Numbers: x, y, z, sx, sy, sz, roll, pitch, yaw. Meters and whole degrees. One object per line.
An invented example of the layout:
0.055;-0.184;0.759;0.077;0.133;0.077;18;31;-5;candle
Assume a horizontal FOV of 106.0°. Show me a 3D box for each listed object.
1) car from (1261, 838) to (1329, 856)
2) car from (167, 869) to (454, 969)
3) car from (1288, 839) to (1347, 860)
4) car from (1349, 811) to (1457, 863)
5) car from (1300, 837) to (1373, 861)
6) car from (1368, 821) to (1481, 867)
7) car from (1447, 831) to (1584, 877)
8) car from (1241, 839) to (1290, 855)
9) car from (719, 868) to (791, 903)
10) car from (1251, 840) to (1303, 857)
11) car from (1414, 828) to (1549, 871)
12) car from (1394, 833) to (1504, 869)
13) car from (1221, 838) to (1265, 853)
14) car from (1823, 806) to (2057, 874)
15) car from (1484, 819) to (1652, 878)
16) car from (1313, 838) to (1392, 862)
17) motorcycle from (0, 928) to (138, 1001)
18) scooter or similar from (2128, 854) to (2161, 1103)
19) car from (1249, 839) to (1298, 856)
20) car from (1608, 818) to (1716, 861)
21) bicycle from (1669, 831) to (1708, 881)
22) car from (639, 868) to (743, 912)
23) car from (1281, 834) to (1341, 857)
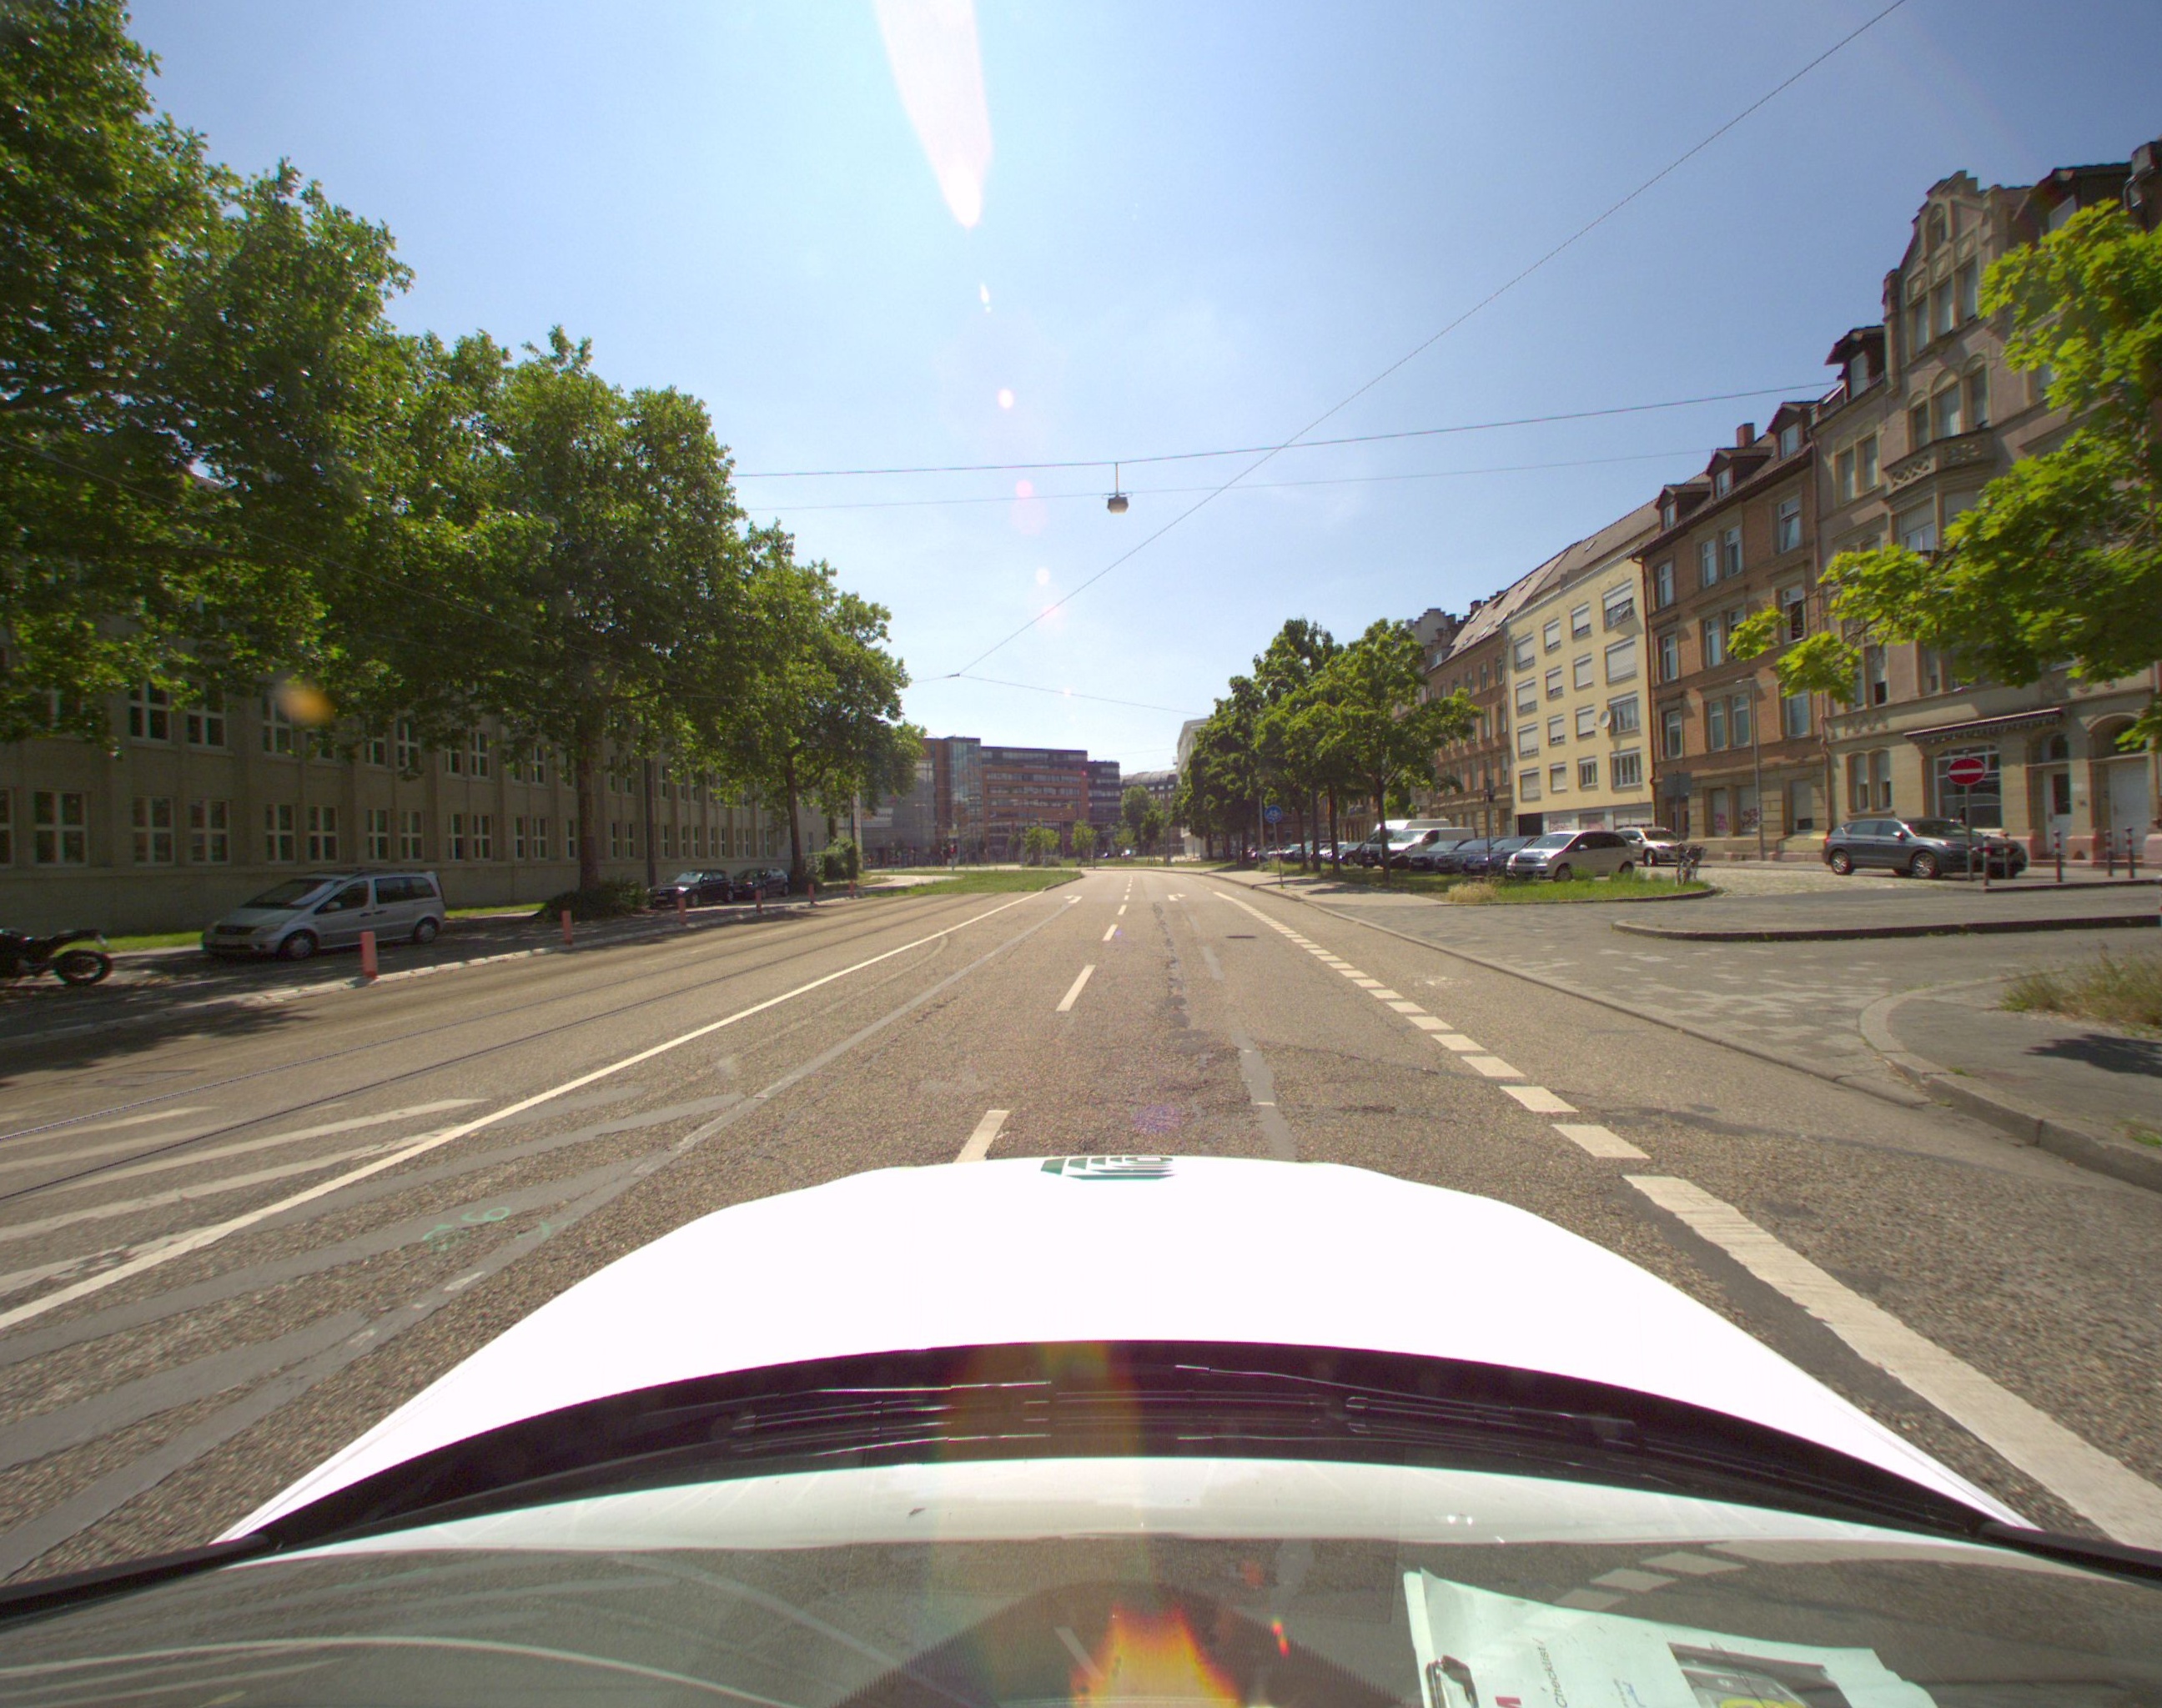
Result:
16.745;-0.537;63.906;4.785;1.313;2.136;-1;0;-18;car
-16.690;1.307;18.022;1.984;1.811;4.308;-1;0;6;car
17.019;-0.353;58.616;4.011;1.400;1.696;-1;0;-29;car
16.194;-0.843;40.856;5.573;2.460;2.215;-1;0;-33;car
16.393;-0.349;52.165;4.710;1.427;1.952;-1;0;-33;car
15.793;-0.480;37.441;4.857;1.973;2.059;-1;0;-26;car
14.659;-0.009;27.535;3.997;1.399;1.813;-1;0;-18;car
17.474;-0.645;77.139;4.352;1.376;1.571;-1;0;-23;car
-15.084;1.408;37.914;1.582;1.423;4.323;-1;0;0;car
17.231;-0.481;71.544;3.998;1.313;1.960;-1;0;-18;car
15.243;-0.198;31.013;4.634;1.497;1.952;-1;0;-21;car
15.318;-0.141;33.958;3.997;1.387;1.813;-1;0;-18;car
18.973;-1.000;95.582;4.880;1.600;1.822;-1;0;-24;car
22.590;-0.349;21.744;1.981;1.600;4.613;-1;0;11;car
14.680;-0.186;24.589;4.411;1.632;1.988;-1;0;-19;car
16.232;-0.251;48.698;4.444;1.338;1.954;-1;0;-29;car
-16.930;1.789;13.244;1.876;1.068;0.721;4;-2;-27;motorcycle
5.174;0.631;3.449;0.386;1.214;1.187;-6;1;28;scooter or similar
17.557;-0.628;74.418;4.098;1.469;1.784;-1;0;-24;car
24.211;-0.587;34.137;1.812;1.684;4.003;-1;0;3;car
15.539;0.037;20.870;0.731;1.193;2.375;-1;0;35;bicycle
-15.437;1.375;32.501;1.754;1.483;4.329;-1;0;4;car
17.411;-0.666;61.709;4.003;1.662;1.957;-1;0;-23;car
